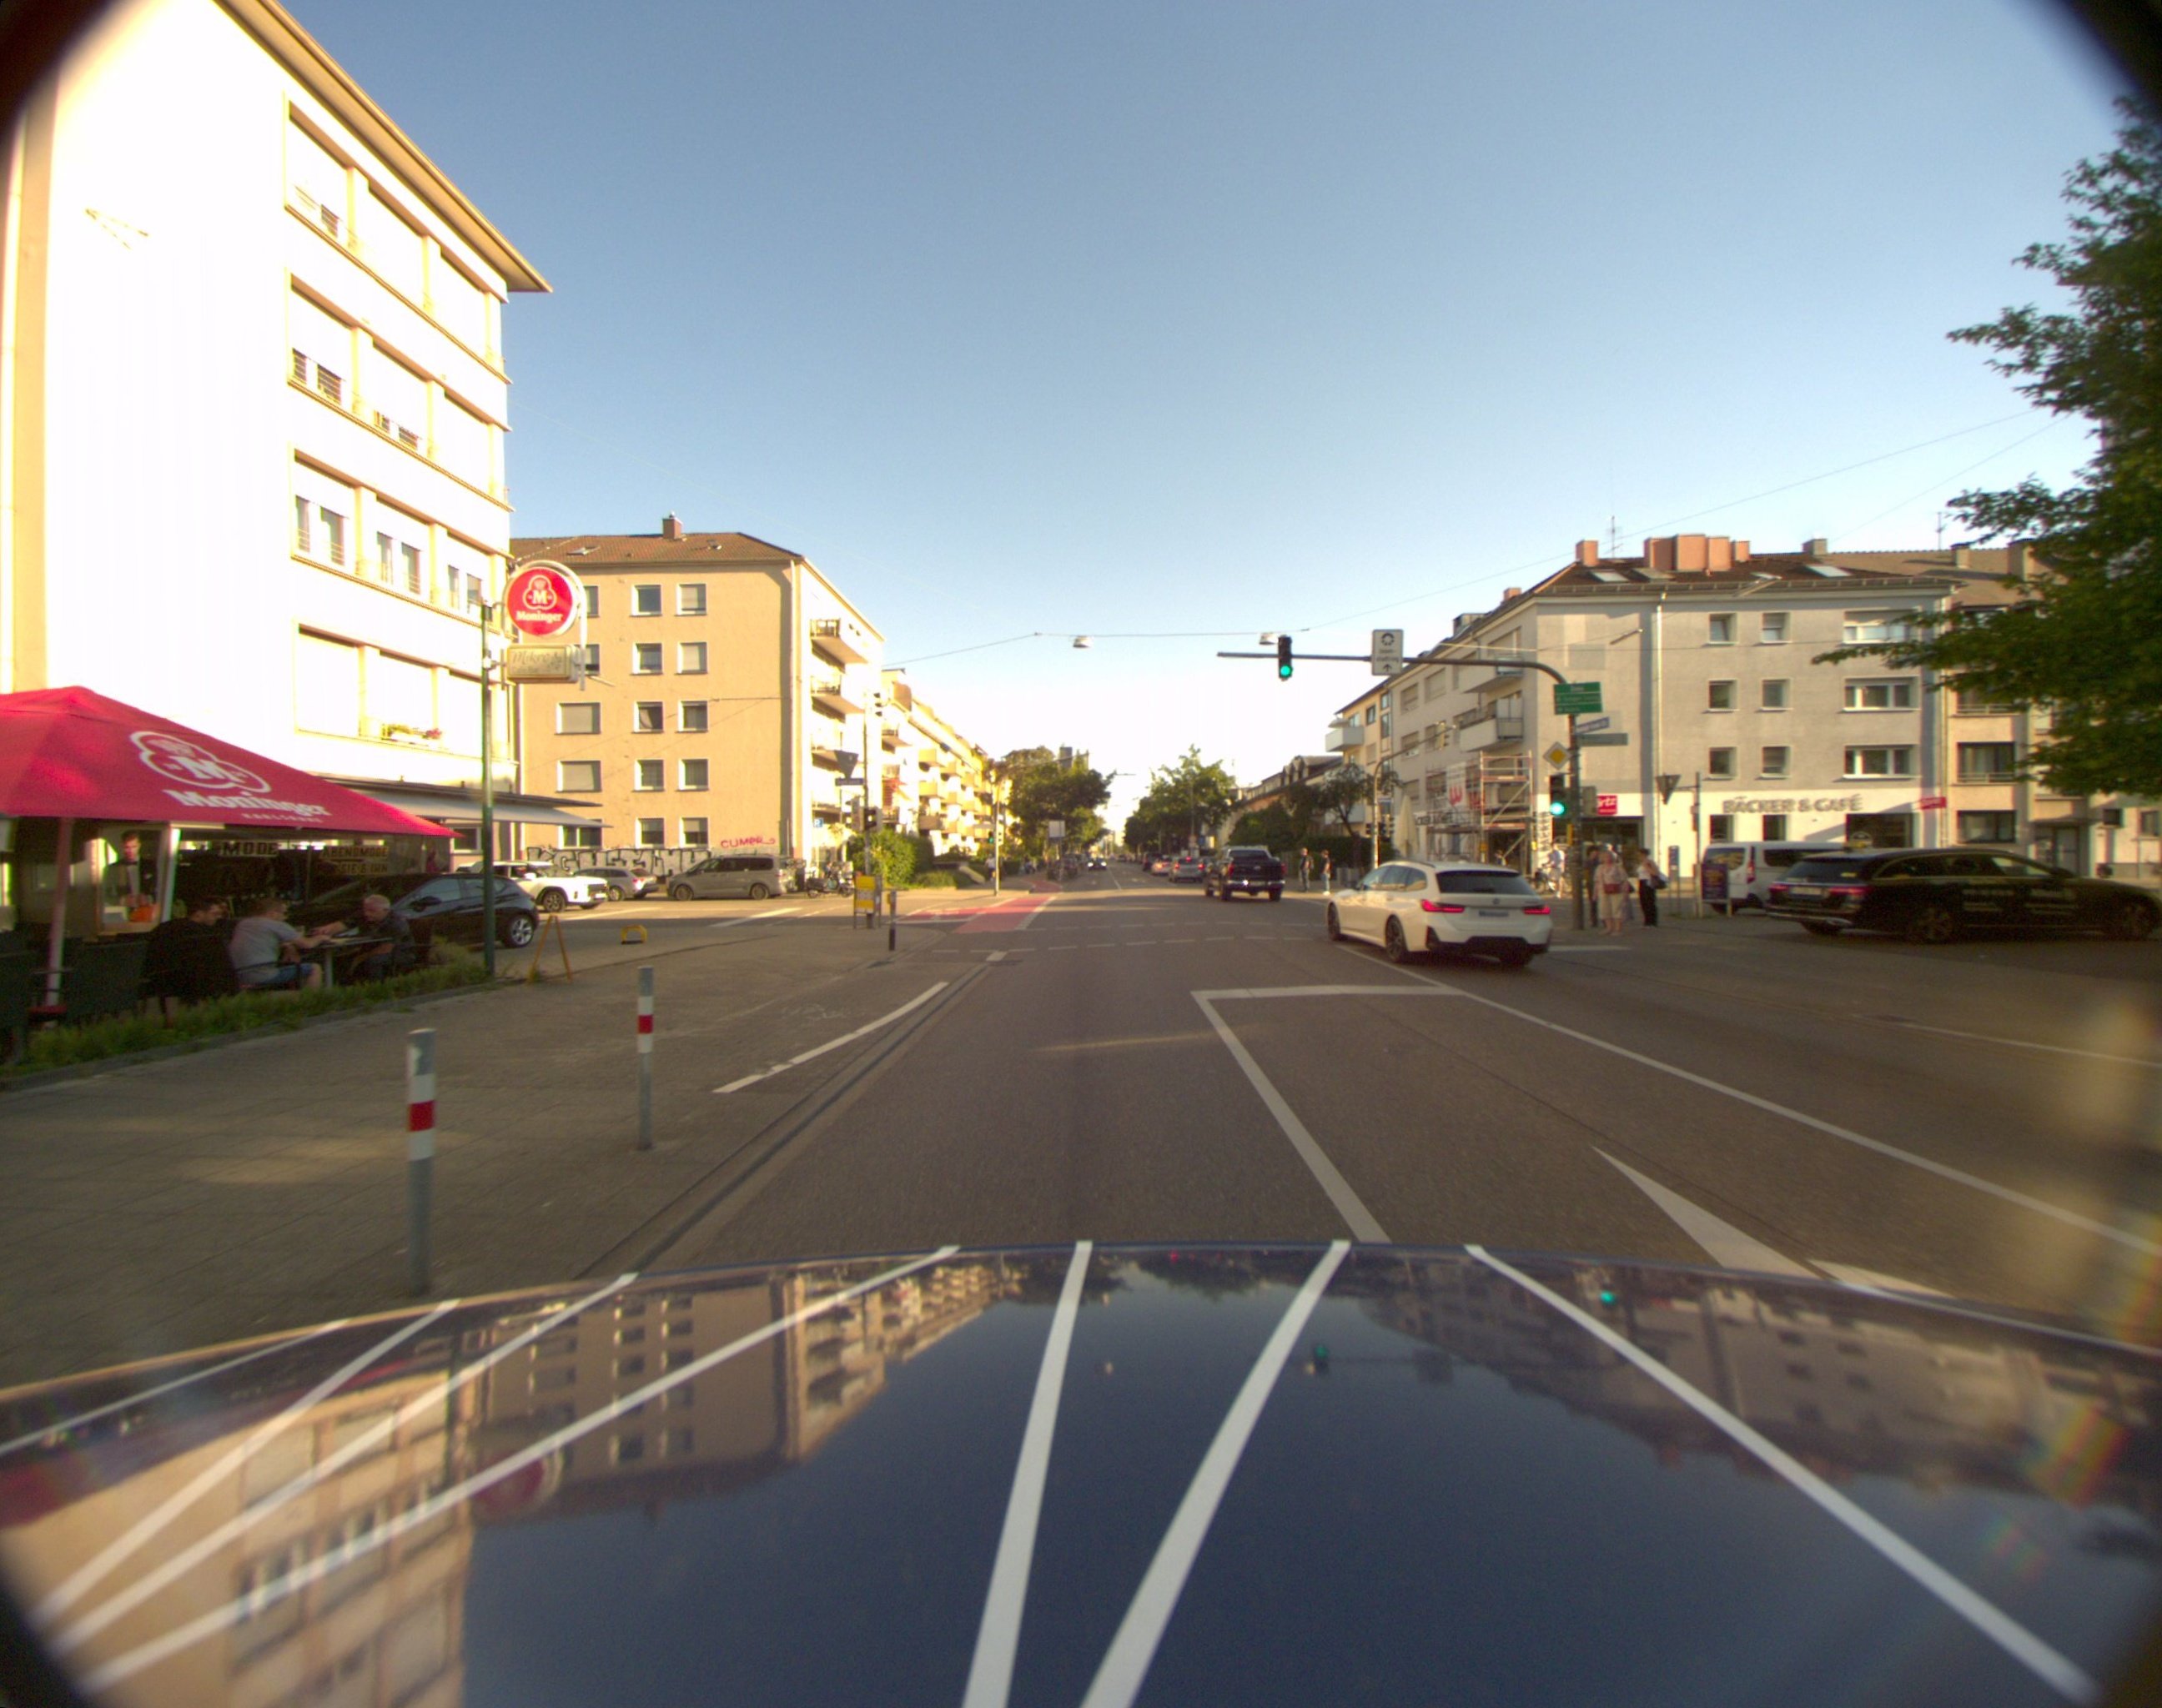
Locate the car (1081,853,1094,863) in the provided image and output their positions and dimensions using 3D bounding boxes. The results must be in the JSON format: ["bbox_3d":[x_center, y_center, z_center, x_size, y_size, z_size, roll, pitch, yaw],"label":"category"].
[{"bbox_3d":[1.025,0.580,117.872,1.744,1.508,3.811,-1,0,4],"label":"car"}]

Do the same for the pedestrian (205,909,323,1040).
[{"bbox_3d":[-7.661,1.112,7.143,0.494,1.143,0.526,-1,1,5],"label":"pedestrian"}]

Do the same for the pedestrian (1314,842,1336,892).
[{"bbox_3d":[10.144,0.535,31.595,0.645,2.002,0.814,-2,2,3],"label":"pedestrian"}]

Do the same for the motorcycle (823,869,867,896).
[{"bbox_3d":[-10.199,1.235,32.855,1.698,1.105,0.594,-2,1,2],"label":"motorcycle"}]

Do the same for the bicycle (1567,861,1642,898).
[{"bbox_3d":[17.170,0.820,24.942,1.998,1.150,0.728,-1,0,-4],"label":"bicycle"}]

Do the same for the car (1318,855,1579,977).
[{"bbox_3d":[5.253,0.763,11.696,1.841,1.465,4.671,1,0,2],"label":"car"}]

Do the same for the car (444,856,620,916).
[{"bbox_3d":[-17.970,1.011,25.027,4.351,1.827,1.953,-1,1,1],"label":"car"}]

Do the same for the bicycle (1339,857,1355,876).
[{"bbox_3d":[14.445,0.670,41.324,0.439,1.009,1.477,-1,1,4],"label":"bicycle"}]

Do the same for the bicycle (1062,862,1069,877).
[{"bbox_3d":[-1.045,1.038,52.280,0.325,0.981,1.191,-1,1,6],"label":"bicycle"}]

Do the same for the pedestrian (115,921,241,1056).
[{"bbox_3d":[-8.283,1.219,6.987,0.487,1.143,0.526,-1,1,5],"label":"pedestrian"}]

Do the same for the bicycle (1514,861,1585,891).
[{"bbox_3d":[18.259,0.841,29.671,2.267,1.083,0.729,1,3,20],"label":"bicycle"}]

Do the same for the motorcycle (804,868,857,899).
[{"bbox_3d":[-10.464,1.206,31.806,1.992,1.194,0.774,-2,1,-11],"label":"motorcycle"}]

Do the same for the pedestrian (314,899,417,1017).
[{"bbox_3d":[-7.524,1.076,8.011,0.413,1.143,0.632,-1,1,5],"label":"pedestrian"}]

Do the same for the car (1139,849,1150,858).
[{"bbox_3d":[10.978,-0.072,130.648,1.642,1.554,3.660,-1,0,2],"label":"car"}]

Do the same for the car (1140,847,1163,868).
[{"bbox_3d":[6.748,0.303,73.339,1.842,1.866,4.409,-1,0,1],"label":"car"}]

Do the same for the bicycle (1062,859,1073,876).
[{"bbox_3d":[-0.976,0.978,54.948,0.324,1.138,1.802,-1,1,15],"label":"bicycle"}]

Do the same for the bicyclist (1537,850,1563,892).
[{"bbox_3d":[18.303,0.635,29.641,0.687,1.586,0.751,1,3,20],"label":"bicyclist"}]

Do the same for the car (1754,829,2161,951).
[{"bbox_3d":[13.927,0.530,12.193,4.602,1.604,1.843,-3,0,-1],"label":"car"}]

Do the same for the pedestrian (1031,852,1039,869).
[{"bbox_3d":[-4.556,0.655,75.224,0.659,1.673,0.831,0,1,7],"label":"pedestrian"}]

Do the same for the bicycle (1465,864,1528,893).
[{"bbox_3d":[15.901,0.936,29.125,1.996,1.083,0.729,-1,0,11],"label":"bicycle"}]

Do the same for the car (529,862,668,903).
[{"bbox_3d":[-20.577,1.201,32.523,4.620,1.532,1.952,-1,2,-1],"label":"car"}]

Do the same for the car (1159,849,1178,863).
[{"bbox_3d":[10.626,0.272,92.553,1.841,1.604,4.410,-1,0,2],"label":"car"}]

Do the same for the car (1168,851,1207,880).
[{"bbox_3d":[6.173,0.657,44.353,1.809,1.548,4.000,-2,0,2],"label":"car"}]

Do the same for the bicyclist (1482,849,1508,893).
[{"bbox_3d":[15.865,0.641,29.129,0.672,1.643,0.751,-1,0,11],"label":"bicyclist"}]

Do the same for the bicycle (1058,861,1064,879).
[{"bbox_3d":[-1.308,1.017,50.046,0.325,1.138,1.800,-1,1,-3],"label":"bicycle"}]

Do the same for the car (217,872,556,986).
[{"bbox_3d":[-11.390,1.127,12.973,1.832,1.475,4.204,-1,0,2],"label":"car"}]

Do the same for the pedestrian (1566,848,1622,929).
[{"bbox_3d":[10.739,0.708,15.924,0.750,1.648,0.608,-1,1,-5],"label":"pedestrian"}]

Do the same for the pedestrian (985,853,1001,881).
[{"bbox_3d":[-5.285,0.793,45.676,0.830,1.673,0.660,0,1,5],"label":"pedestrian"}]

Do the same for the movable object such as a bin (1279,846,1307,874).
[{"bbox_3d":[13.208,0.358,47.441,1.309,1.649,1.180,-4,2,1],"label":"movable object such as a bin"}]

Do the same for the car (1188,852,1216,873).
[{"bbox_3d":[9.293,0.600,58.597,1.755,1.526,3.572,-1,0,3],"label":"car"}]

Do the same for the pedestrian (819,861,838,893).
[{"bbox_3d":[-11.419,1.040,34.375,0.641,1.383,0.594,-2,1,1],"label":"pedestrian"}]

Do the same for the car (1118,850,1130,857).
[{"bbox_3d":[9.364,-0.115,166.052,1.843,1.604,4.407,-1,0,-6],"label":"car"}]

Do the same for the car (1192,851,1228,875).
[{"bbox_3d":[9.144,0.597,54.009,1.810,1.604,3.950,-1,0,-1],"label":"car"}]

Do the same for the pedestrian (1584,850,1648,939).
[{"bbox_3d":[9.948,0.729,14.145,0.608,1.585,0.749,-3,2,-1],"label":"pedestrian"}]

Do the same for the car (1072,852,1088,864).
[{"bbox_3d":[-0.071,0.494,96.778,1.744,1.508,3.811,-1,0,4],"label":"car"}]

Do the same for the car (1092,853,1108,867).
[{"bbox_3d":[2.028,0.596,80.972,1.640,1.482,4.415,0,0,1],"label":"car"}]

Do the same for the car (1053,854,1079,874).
[{"bbox_3d":[-1.194,0.798,61.958,1.744,1.508,3.811,-1,0,4],"label":"car"}]

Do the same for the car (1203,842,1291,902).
[{"bbox_3d":[5.501,0.543,25.901,1.866,1.819,5.227,1,0,0],"label":"car"}]

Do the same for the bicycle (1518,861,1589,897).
[{"bbox_3d":[15.973,0.834,25.714,1.999,1.159,0.728,-1,0,-4],"label":"bicycle"}]

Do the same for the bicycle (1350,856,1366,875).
[{"bbox_3d":[15.050,0.623,41.266,0.439,1.009,1.477,-1,1,4],"label":"bicycle"}]

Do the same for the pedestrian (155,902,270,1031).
[{"bbox_3d":[-9.118,1.163,7.994,0.525,1.275,0.540,-1,1,4],"label":"pedestrian"}]

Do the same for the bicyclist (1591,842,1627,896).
[{"bbox_3d":[17.331,0.489,24.955,0.608,1.711,0.750,-1,0,-4],"label":"bicyclist"}]

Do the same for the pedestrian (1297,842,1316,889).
[{"bbox_3d":[9.843,0.502,33.181,0.639,2.002,0.739,-1,1,3],"label":"pedestrian"}]

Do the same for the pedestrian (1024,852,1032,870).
[{"bbox_3d":[-5.117,0.667,73.030,0.659,1.673,0.831,0,1,7],"label":"pedestrian"}]

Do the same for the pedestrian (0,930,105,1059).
[{"bbox_3d":[-9.768,1.313,7.186,0.525,1.143,0.413,-1,1,7],"label":"pedestrian"}]

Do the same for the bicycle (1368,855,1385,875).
[{"bbox_3d":[15.945,0.586,41.075,0.439,1.009,1.477,-1,1,4],"label":"bicycle"}]

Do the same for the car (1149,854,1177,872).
[{"bbox_3d":[6.381,0.690,59.437,1.845,1.312,4.442,0,0,2],"label":"car"}]

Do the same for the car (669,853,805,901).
[{"bbox_3d":[-14.543,0.934,32.311,4.841,1.855,1.952,-1,2,-1],"label":"car"}]

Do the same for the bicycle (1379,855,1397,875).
[{"bbox_3d":[16.562,0.577,41.020,0.439,1.009,1.477,-1,1,4],"label":"bicycle"}]

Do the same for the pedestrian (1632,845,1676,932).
[{"bbox_3d":[11.250,0.675,14.916,0.607,1.620,0.751,-3,2,38],"label":"pedestrian"}]

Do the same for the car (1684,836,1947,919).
[{"bbox_3d":[17.606,0.533,18.379,4.483,1.837,1.908,-1,1,1],"label":"car"}]
